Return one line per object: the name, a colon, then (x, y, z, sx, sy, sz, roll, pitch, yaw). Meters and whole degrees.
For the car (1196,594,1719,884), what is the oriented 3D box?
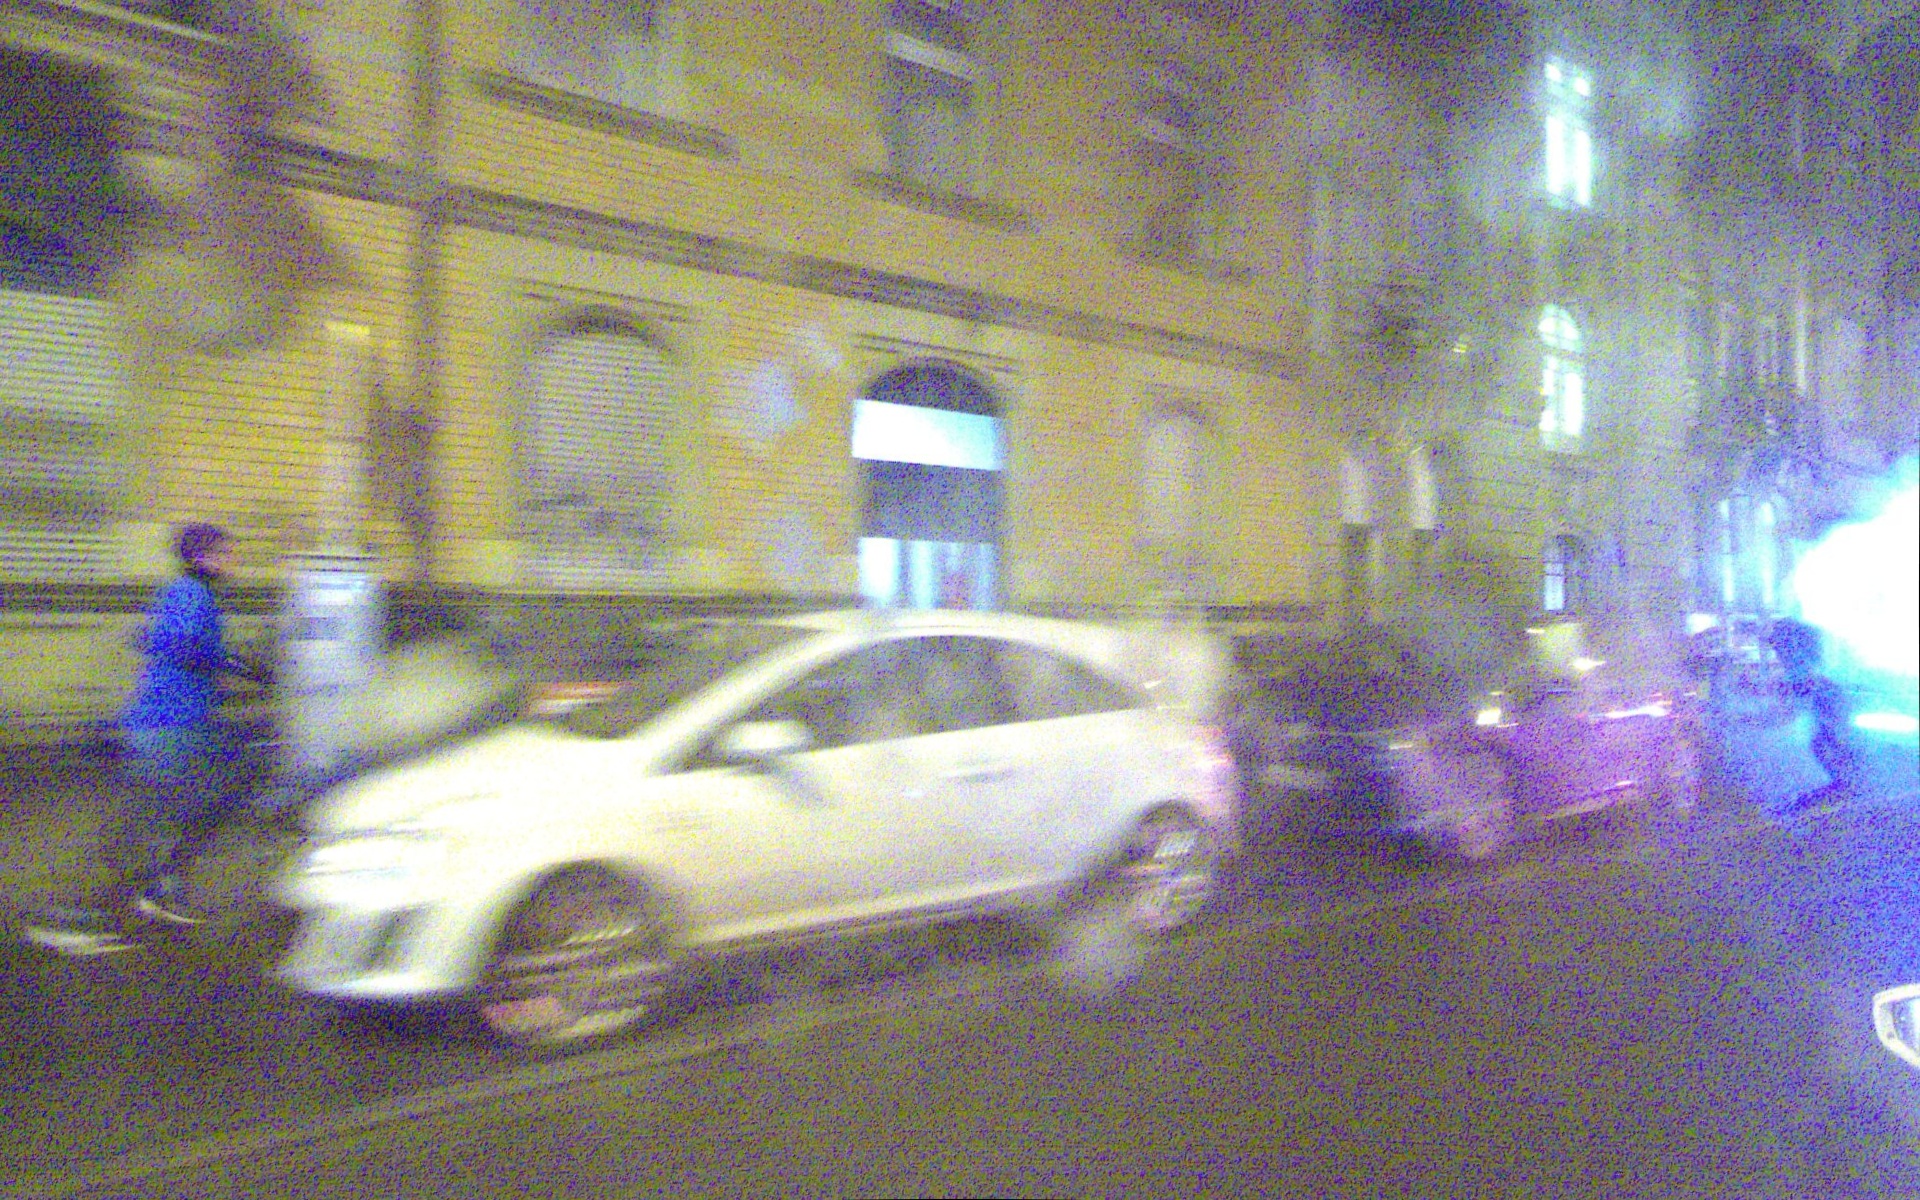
car: (3.734, 0.794, 7.299, 4.034, 1.578, 1.645, 1, -1, -34)

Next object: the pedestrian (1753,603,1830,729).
pedestrian: (11.733, 0.906, 14.185, 0.533, 1.726, 0.698, 1, 0, -30)

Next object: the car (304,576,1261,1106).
car: (-0.601, 0.719, 4.474, 3.747, 1.502, 1.580, 1, -1, -29)

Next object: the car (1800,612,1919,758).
car: (11.980, 0.958, 12.120, 4.034, 1.578, 1.802, 1, -1, -34)

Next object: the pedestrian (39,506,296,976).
pedestrian: (-3.407, 0.556, 4.388, 0.785, 1.845, 0.588, 1, 1, -30)

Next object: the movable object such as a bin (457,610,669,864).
movable object such as a bin: (-2.555, 0.787, 6.411, 1.143, 1.417, 1.043, 1, 1, -28)
